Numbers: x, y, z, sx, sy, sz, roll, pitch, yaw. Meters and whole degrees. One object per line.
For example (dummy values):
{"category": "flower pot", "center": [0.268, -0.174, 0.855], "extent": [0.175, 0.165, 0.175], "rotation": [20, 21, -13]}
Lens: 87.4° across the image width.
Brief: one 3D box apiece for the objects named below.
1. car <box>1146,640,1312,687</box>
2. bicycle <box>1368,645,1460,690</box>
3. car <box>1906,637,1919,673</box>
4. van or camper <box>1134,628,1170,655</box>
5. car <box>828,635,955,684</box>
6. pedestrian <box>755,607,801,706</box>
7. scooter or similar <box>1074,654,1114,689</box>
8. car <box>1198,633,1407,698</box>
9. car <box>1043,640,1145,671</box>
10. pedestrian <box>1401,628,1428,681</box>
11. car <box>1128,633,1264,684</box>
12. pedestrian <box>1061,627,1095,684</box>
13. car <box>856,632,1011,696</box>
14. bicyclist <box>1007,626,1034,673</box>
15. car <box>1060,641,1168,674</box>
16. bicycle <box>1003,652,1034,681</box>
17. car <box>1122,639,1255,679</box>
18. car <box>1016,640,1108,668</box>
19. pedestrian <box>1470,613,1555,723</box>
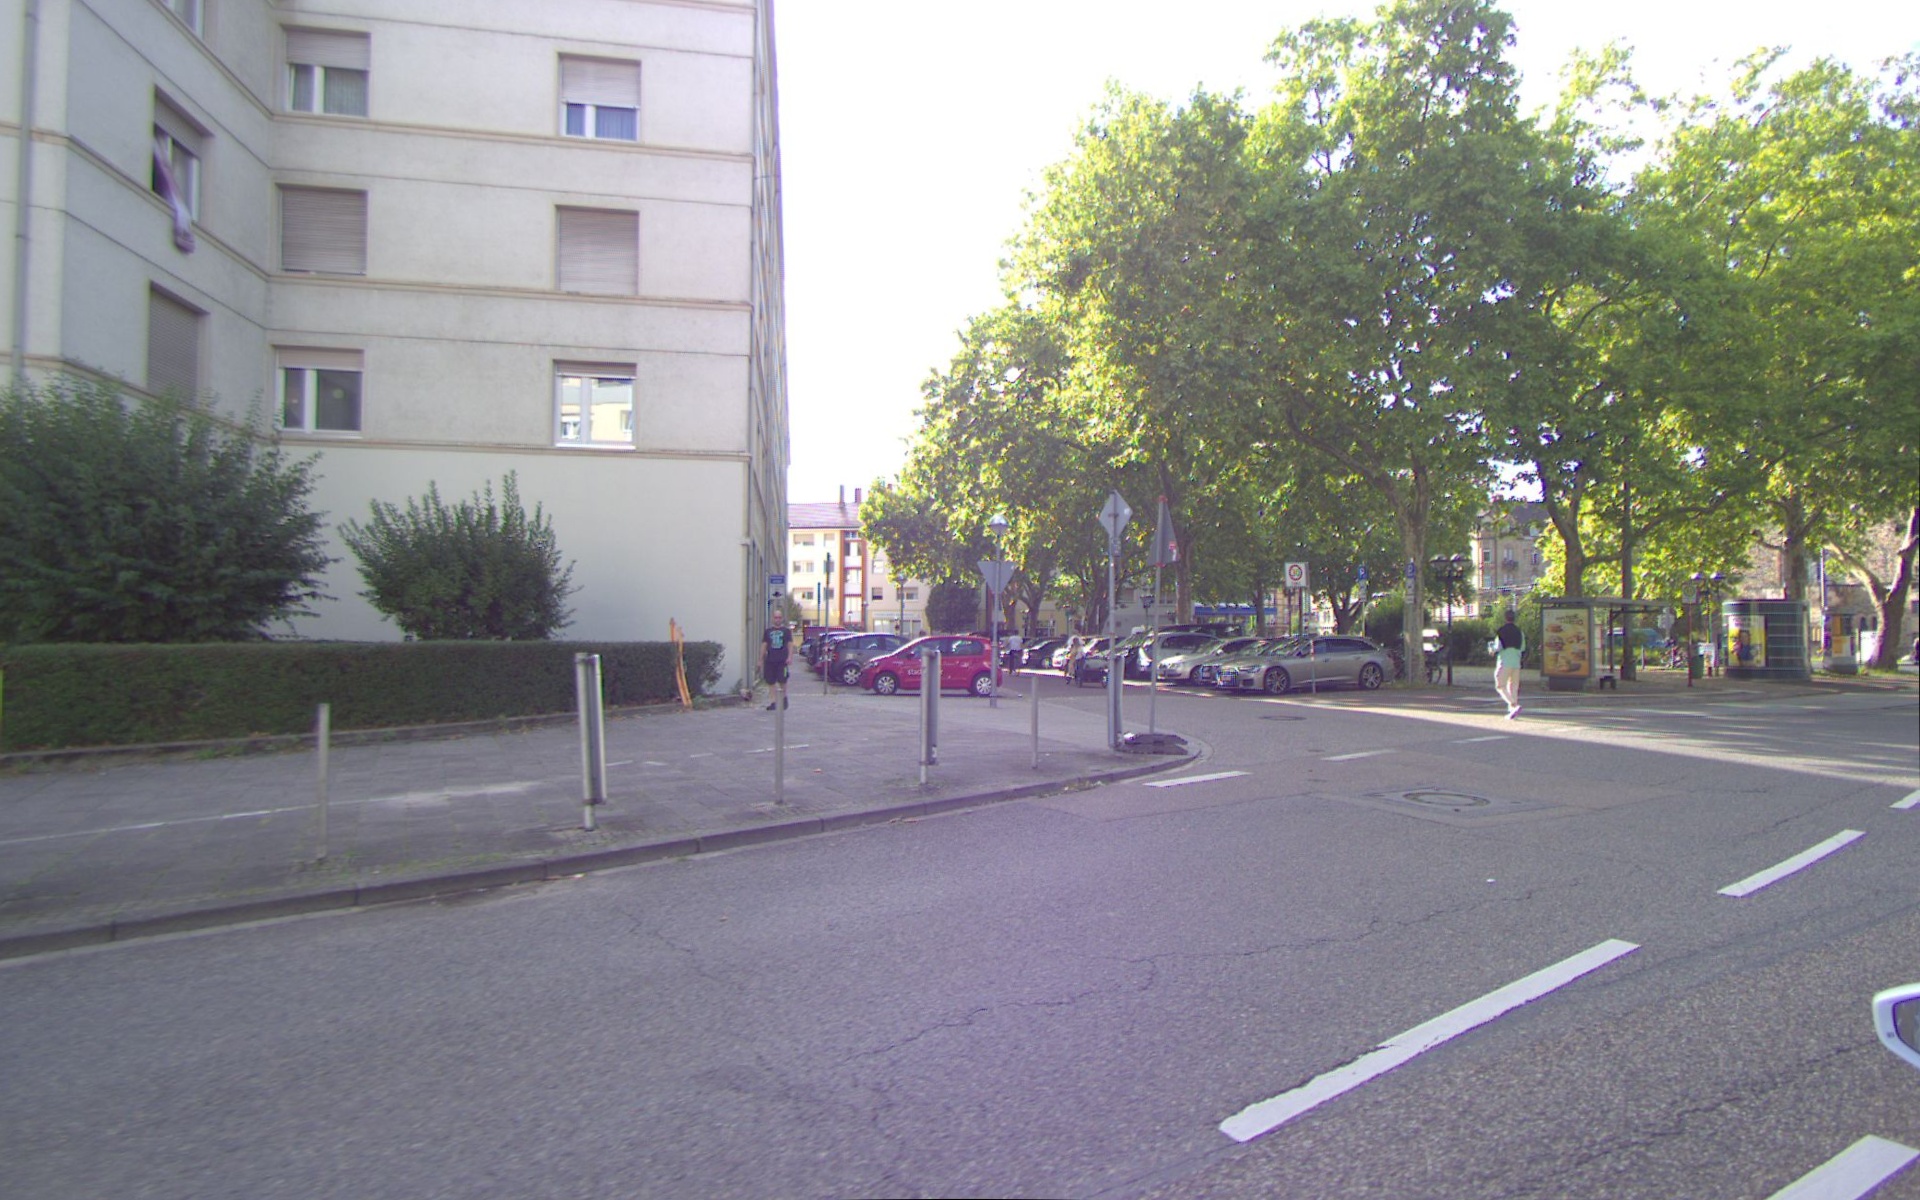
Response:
{"category": "car", "center": [8.326, 1.939, 31.193], "extent": [4.753, 1.396, 1.669], "rotation": [1, -2, -11]}
{"category": "bicycle", "center": [13.634, 2.028, 30.204], "extent": [2.065, 1.225, 1.392], "rotation": [3, -2, -10]}
{"category": "car", "center": [51.613, 2.843, 51.054], "extent": [1.996, 1.895, 4.848], "rotation": [1, -2, -13]}
{"category": "van or camper", "center": [17.255, 3.773, 90.474], "extent": [2.072, 2.359, 4.489], "rotation": [0, -2, -6]}
{"category": "car", "center": [-2.046, 1.753, 29.720], "extent": [3.636, 1.384, 1.595], "rotation": [1, -2, -6]}
{"category": "pedestrian", "center": [-3.020, 0.932, 16.696], "extent": [0.721, 1.599, 0.731], "rotation": [1, -2, -9]}
{"category": "scooter or similar", "center": [3.751, 1.996, 28.227], "extent": [0.794, 0.935, 1.012], "rotation": [1, -2, -14]}
{"category": "car", "center": [9.007, 1.690, 26.468], "extent": [4.897, 1.606, 2.232], "rotation": [1, -2, -19]}
{"category": "car", "center": [6.154, 2.538, 46.241], "extent": [4.310, 1.396, 1.857], "rotation": [1, -2, -11]}
{"category": "pedestrian", "center": [15.187, 1.810, 33.547], "extent": [0.698, 1.738, 0.498], "rotation": [1, -2, -32]}
{"category": "car", "center": [7.963, 1.966, 34.017], "extent": [4.201, 1.638, 1.680], "rotation": [1, -2, -11]}
{"category": "pedestrian", "center": [3.515, 1.645, 29.921], "extent": [0.800, 1.676, 1.075], "rotation": [1, -2, -6]}
{"category": "car", "center": [-0.691, 1.566, 24.814], "extent": [3.638, 1.497, 1.594], "rotation": [1, -2, -9]}
{"category": "bicyclist", "center": [2.240, 1.844, 37.413], "extent": [0.799, 1.714, 1.112], "rotation": [1, -2, -9]}
{"category": "car", "center": [6.689, 2.485, 43.899], "extent": [4.310, 1.396, 1.857], "rotation": [1, -2, -11]}
{"category": "bicycle", "center": [2.181, 2.461, 37.511], "extent": [0.749, 1.007, 1.924], "rotation": [1, -2, -9]}
{"category": "car", "center": [8.199, 2.102, 36.234], "extent": [4.310, 1.396, 1.857], "rotation": [1, -2, -11]}
{"category": "car", "center": [5.197, 2.736, 51.414], "extent": [4.310, 1.396, 1.857], "rotation": [1, -2, -11]}
{"category": "pedestrian", "center": [9.351, 1.116, 17.002], "extent": [1.063, 1.777, 0.913], "rotation": [0, -1, 44]}
